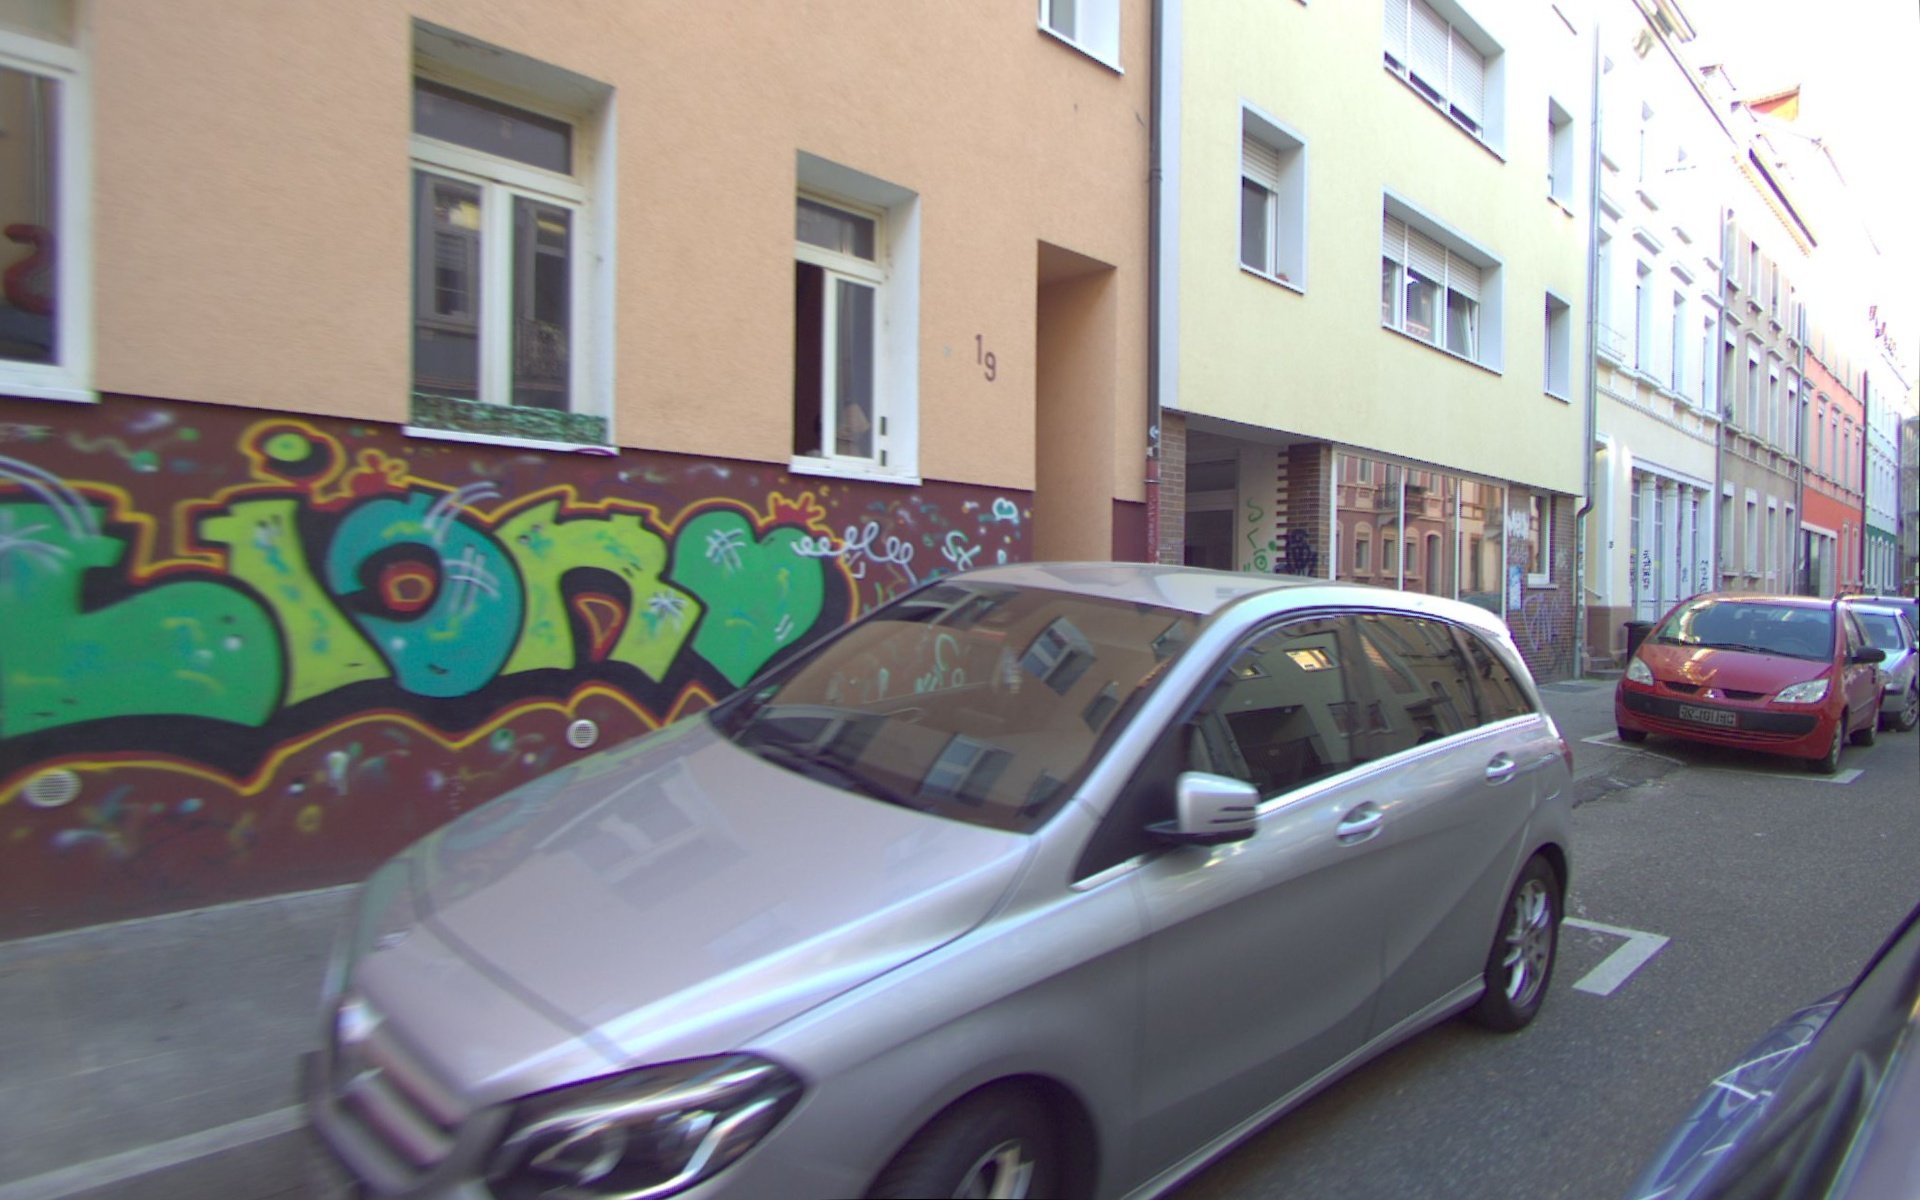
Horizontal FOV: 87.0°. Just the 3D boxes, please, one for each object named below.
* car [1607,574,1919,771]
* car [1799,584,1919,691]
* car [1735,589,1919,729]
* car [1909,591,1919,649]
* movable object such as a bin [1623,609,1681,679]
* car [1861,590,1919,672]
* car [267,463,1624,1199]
[{"bbox_3d":[8.105,0.570,10.093,3.910,1.542,1.701,0,3,-41],"label":"car"},{"bbox_3d":[15.444,0.545,16.772,3.931,1.570,1.792,0,1,-42],"label":"car"},{"bbox_3d":[11.491,0.632,13.053,4.123,1.470,1.690,0,3,-43],"label":"car"},{"bbox_3d":[26.949,0.548,27.142,4.388,1.501,1.829,0,2,-42],"label":"car"},{"bbox_3d":[11.515,0.717,16.841,0.547,1.112,0.665,0,0,-40],"label":"movable object such as a bin"},{"bbox_3d":[19.555,0.575,20.317,4.305,1.541,1.764,0,0,-42],"label":"car"},{"bbox_3d":[0.405,0.608,3.175,4.098,1.575,1.749,0,1,-41],"label":"car"}]
